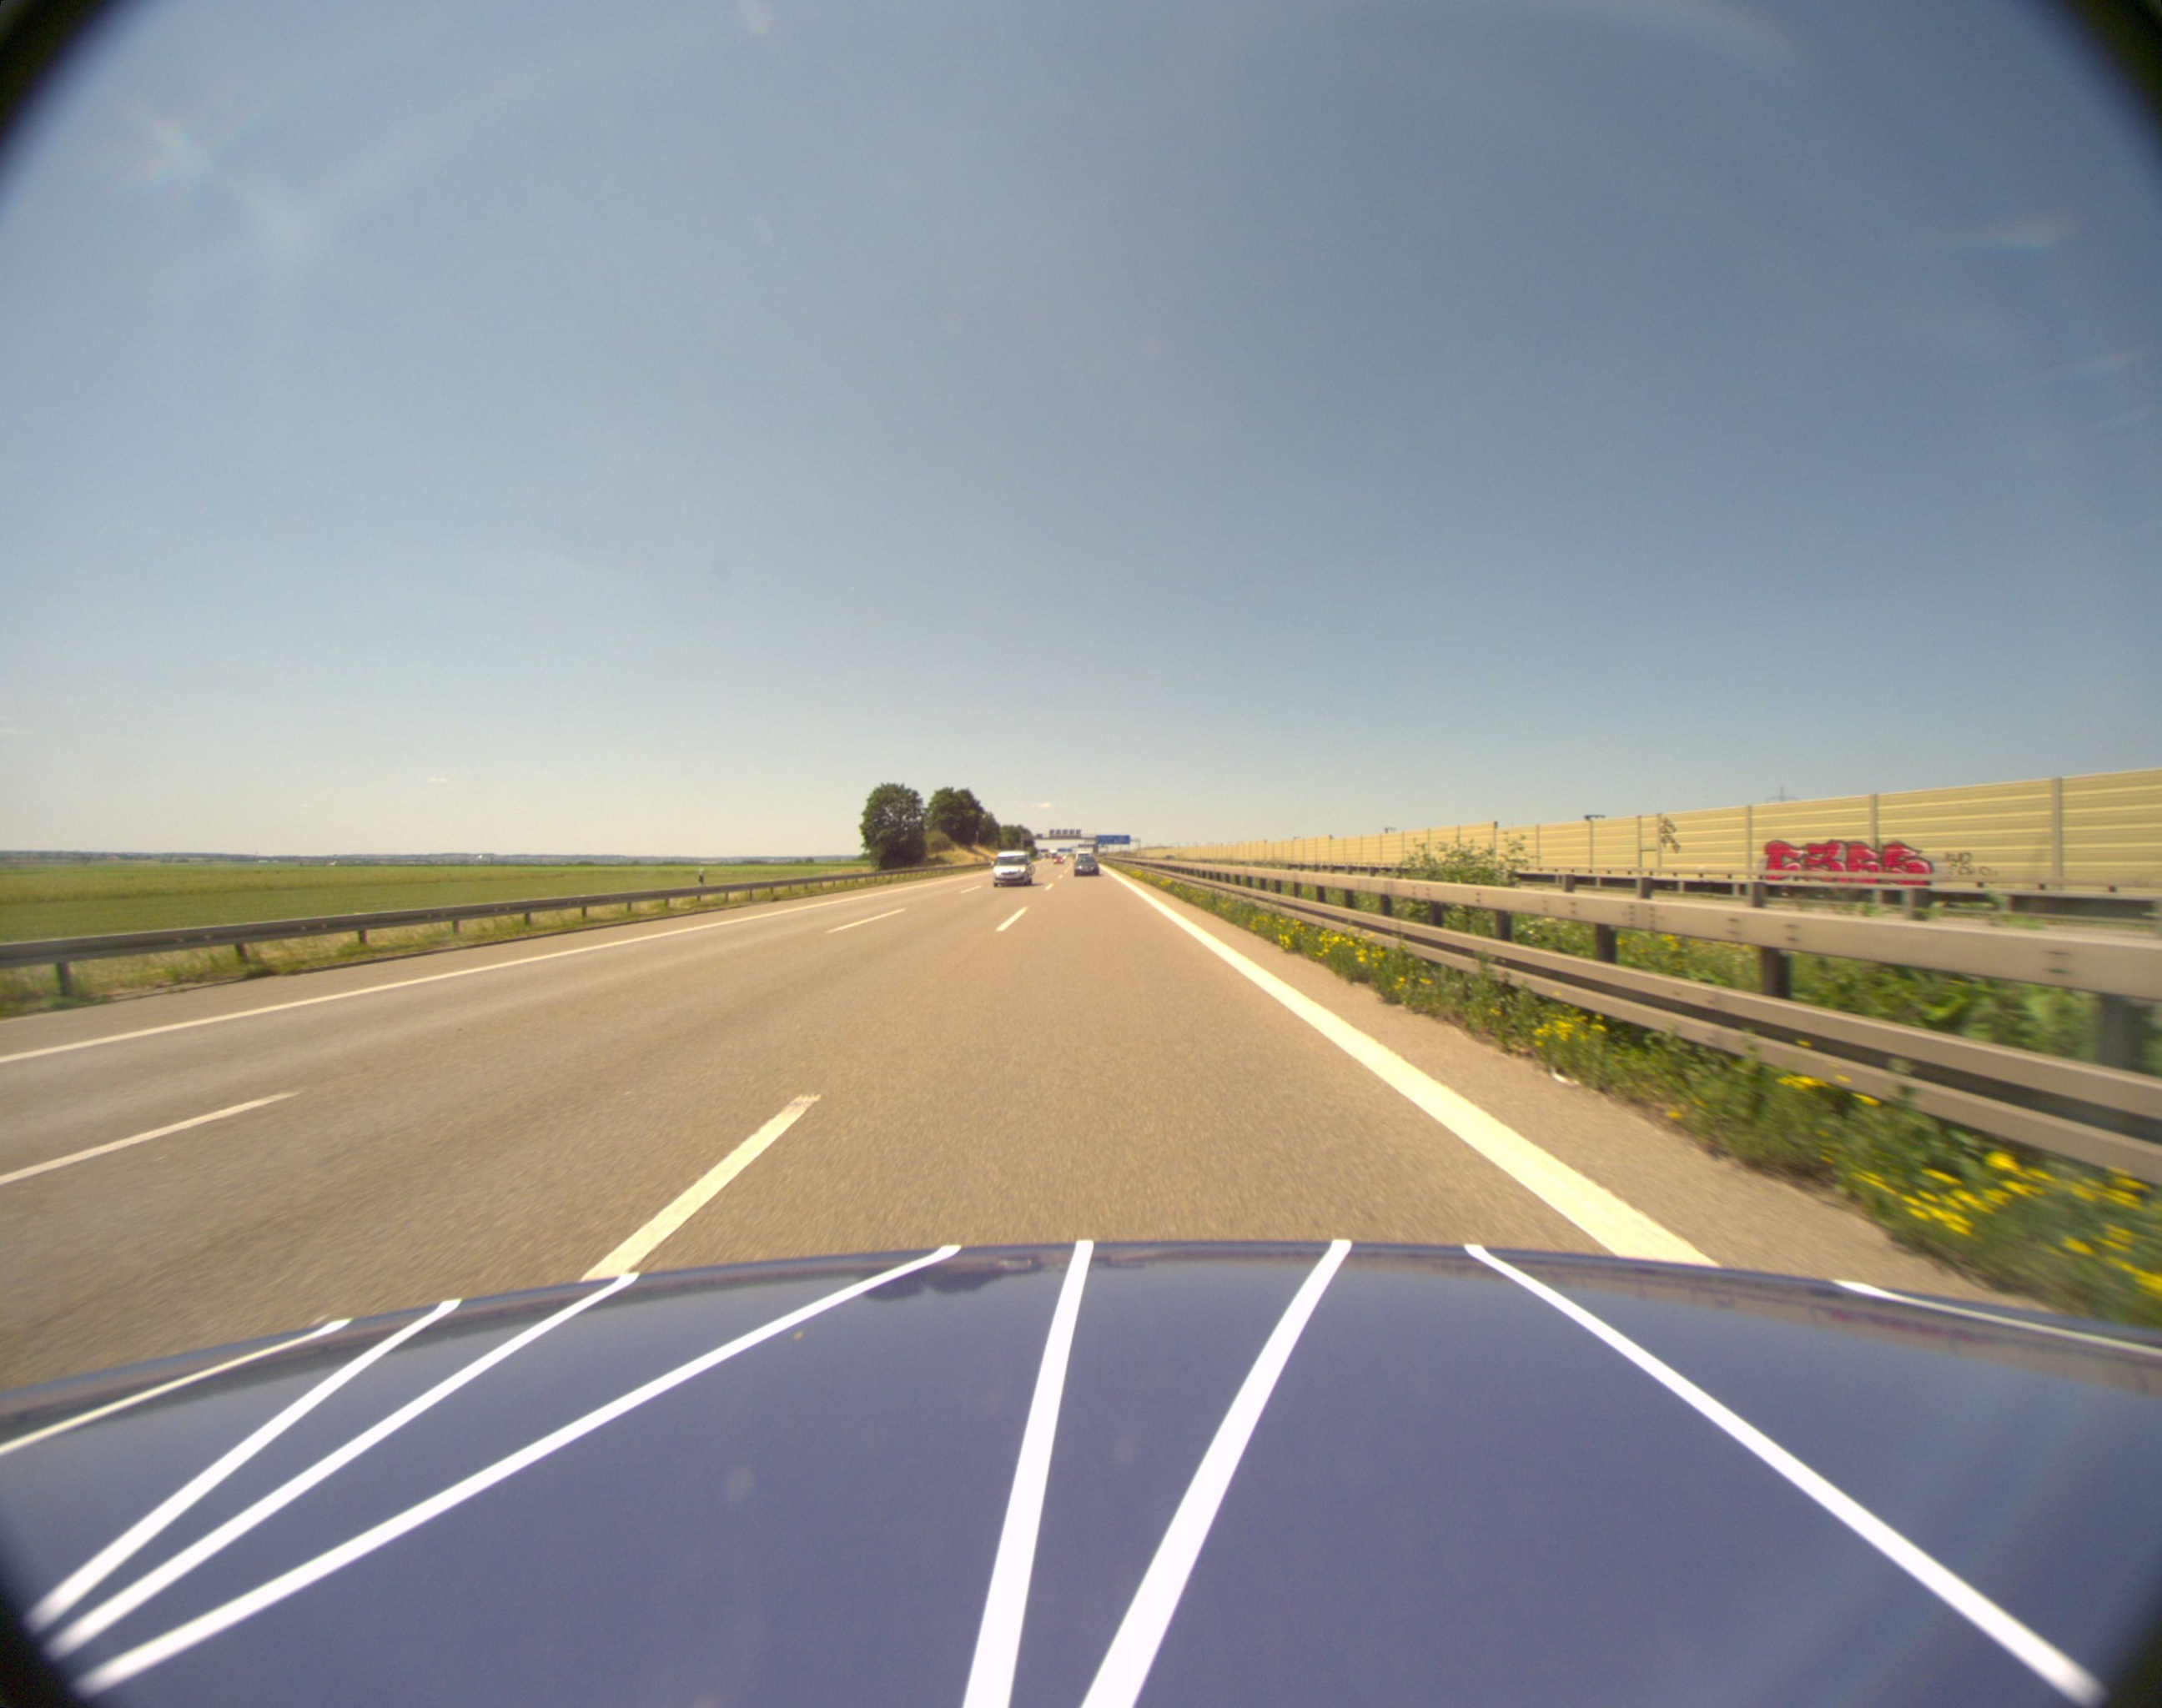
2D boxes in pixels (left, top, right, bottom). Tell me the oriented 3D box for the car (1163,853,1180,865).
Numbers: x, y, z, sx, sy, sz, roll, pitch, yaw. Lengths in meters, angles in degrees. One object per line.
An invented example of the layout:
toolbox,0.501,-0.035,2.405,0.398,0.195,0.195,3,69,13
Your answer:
car,13.977,0.707,117.541,1.998,1.674,3.999,-2,1,0

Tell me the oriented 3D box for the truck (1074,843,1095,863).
truck,0.429,-0.140,93.831,2.333,2.378,6.685,-2,1,-1

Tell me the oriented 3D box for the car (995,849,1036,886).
car,-3.433,0.686,40.726,1.812,1.836,5.311,-1,0,-1

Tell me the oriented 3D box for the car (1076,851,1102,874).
car,0.546,0.621,55.473,1.715,1.586,4.546,1,0,-1

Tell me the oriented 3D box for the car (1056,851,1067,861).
car,-3.368,0.365,131.359,1.723,1.514,3.581,-2,1,-1

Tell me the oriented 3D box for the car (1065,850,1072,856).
car,-3.234,-0.307,194.175,1.723,1.514,3.581,-2,1,-1
